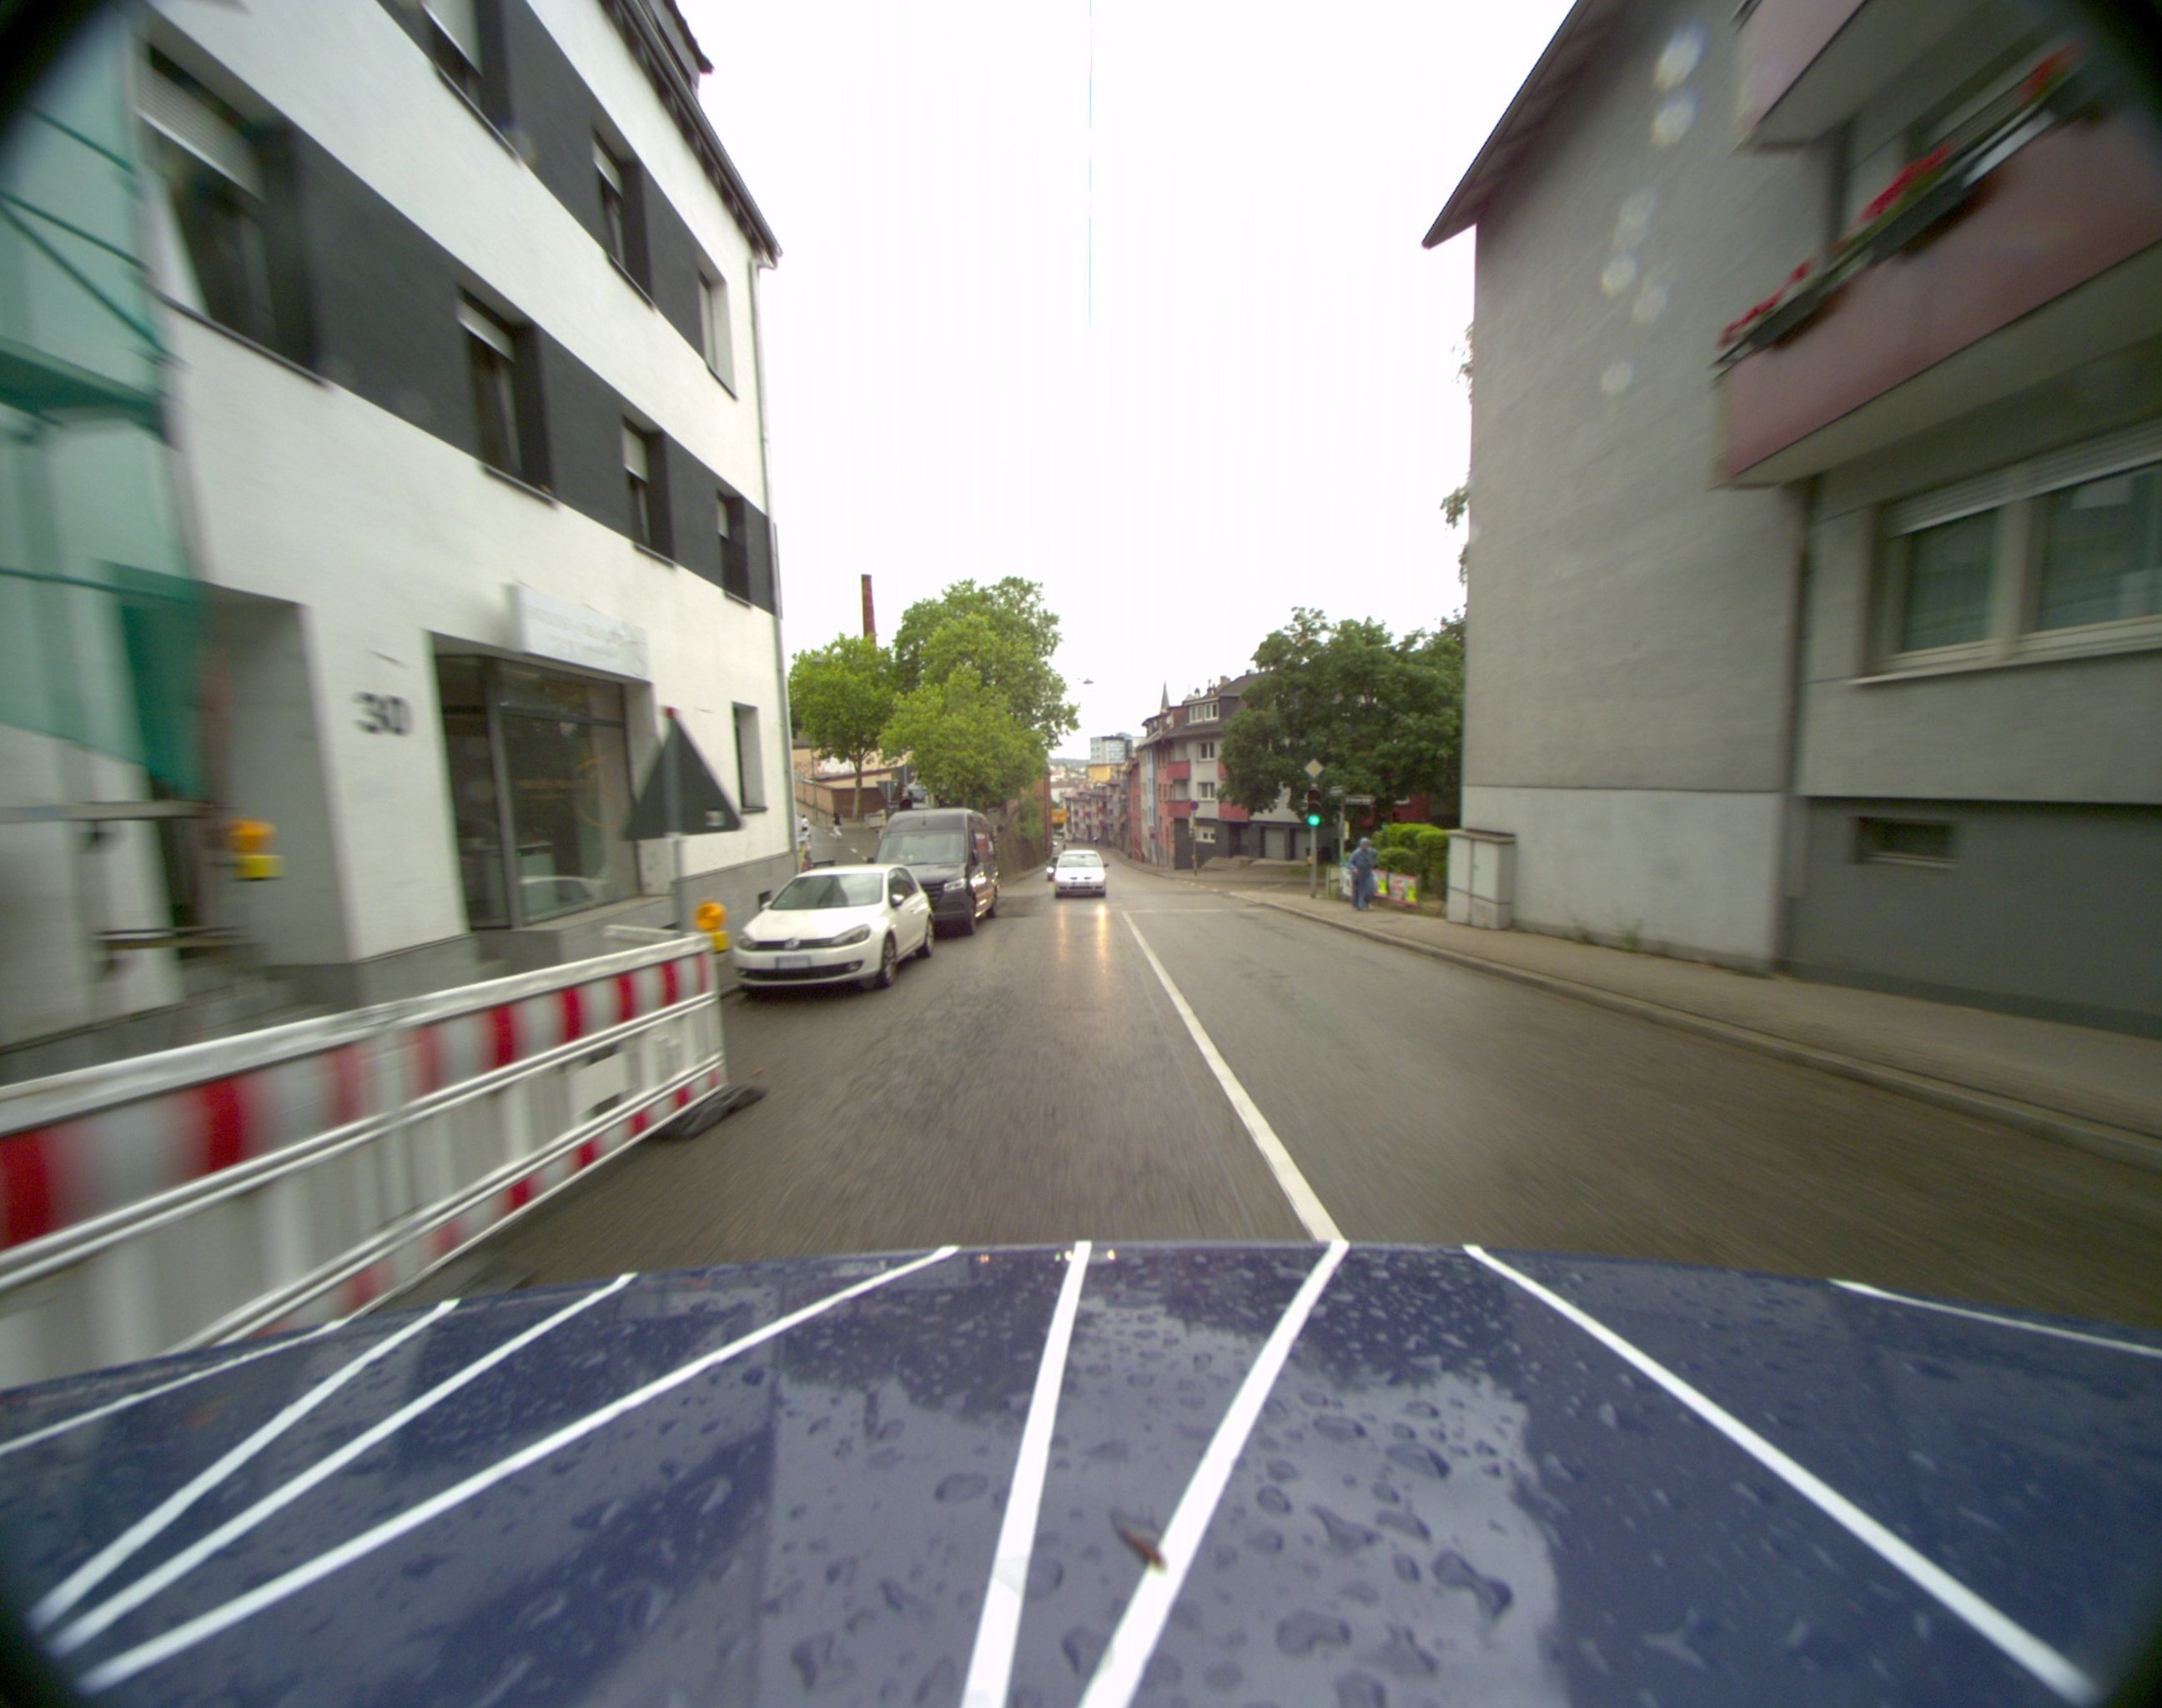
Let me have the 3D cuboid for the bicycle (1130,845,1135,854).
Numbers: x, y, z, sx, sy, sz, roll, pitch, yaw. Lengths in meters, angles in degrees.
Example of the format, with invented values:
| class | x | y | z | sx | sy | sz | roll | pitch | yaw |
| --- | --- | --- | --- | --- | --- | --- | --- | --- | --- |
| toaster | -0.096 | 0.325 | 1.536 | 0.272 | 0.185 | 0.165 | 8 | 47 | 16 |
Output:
| class | x | y | z | sx | sy | sz | roll | pitch | yaw |
| --- | --- | --- | --- | --- | --- | --- | --- | --- | --- |
| bicycle | 7.283 | -0.654 | 107.510 | 0.572 | 1.111 | 2.039 | -4 | 2 | 1 |

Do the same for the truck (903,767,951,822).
| class | x | y | z | sx | sy | sz | roll | pitch | yaw |
| --- | --- | --- | --- | --- | --- | --- | --- | --- | --- |
| truck | -12.206 | -4.960 | 61.252 | 2.756 | 3.296 | 11.202 | 0 | 10 | -6 |

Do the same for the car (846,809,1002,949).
| class | x | y | z | sx | sy | sz | roll | pitch | yaw |
| --- | --- | --- | --- | --- | --- | --- | --- | --- | --- |
| car | -3.096 | 0.319 | 16.475 | 1.998 | 2.400 | 5.833 | -3 | 3 | 0 |

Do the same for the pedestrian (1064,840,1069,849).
| class | x | y | z | sx | sy | sz | roll | pitch | yaw |
| --- | --- | --- | --- | --- | --- | --- | --- | --- | --- |
| pedestrian | -2.525 | -1.703 | 131.698 | 0.871 | 1.532 | 1.087 | -4 | 0 | -3 |

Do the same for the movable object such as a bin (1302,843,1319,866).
| class | x | y | z | sx | sy | sz | roll | pitch | yaw |
| --- | --- | --- | --- | --- | --- | --- | --- | --- | --- |
| movable object such as a bin | 12.591 | 0.016 | 41.667 | 0.562 | 1.193 | 0.687 | -5 | 3 | -26 |

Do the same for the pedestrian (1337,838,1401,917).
| class | x | y | z | sx | sy | sz | roll | pitch | yaw |
| --- | --- | --- | --- | --- | --- | --- | --- | --- | --- |
| pedestrian | 6.111 | 0.473 | 16.182 | 0.871 | 1.533 | 1.086 | -4 | 4 | -2 |

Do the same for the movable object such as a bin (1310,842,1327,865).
| class | x | y | z | sx | sy | sz | roll | pitch | yaw |
| --- | --- | --- | --- | --- | --- | --- | --- | --- | --- |
| movable object such as a bin | 13.110 | -0.026 | 41.939 | 0.562 | 1.193 | 0.687 | -5 | 3 | -26 |

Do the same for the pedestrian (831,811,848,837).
| class | x | y | z | sx | sy | sz | roll | pitch | yaw |
| --- | --- | --- | --- | --- | --- | --- | --- | --- | --- |
| pedestrian | -15.572 | -1.925 | 48.986 | 0.875 | 1.668 | 0.777 | -2 | 4 | -30 |

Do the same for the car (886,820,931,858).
| class | x | y | z | sx | sy | sz | roll | pitch | yaw |
| --- | --- | --- | --- | --- | --- | --- | --- | --- | --- |
| car | -9.740 | -0.928 | 43.193 | 1.635 | 1.486 | 4.339 | -4 | 9 | -3 |

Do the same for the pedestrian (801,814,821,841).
| class | x | y | z | sx | sy | sz | roll | pitch | yaw |
| --- | --- | --- | --- | --- | --- | --- | --- | --- | --- |
| pedestrian | -16.866 | -1.652 | 47.455 | 0.873 | 1.668 | 0.779 | 0 | 3 | 3 |

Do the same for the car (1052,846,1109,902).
| class | x | y | z | sx | sy | sz | roll | pitch | yaw |
| --- | --- | --- | --- | --- | --- | --- | --- | --- | --- |
| car | -0.015 | 0.617 | 26.106 | 1.720 | 1.528 | 3.998 | -3 | 3 | 0 |

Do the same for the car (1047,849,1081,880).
| class | x | y | z | sx | sy | sz | roll | pitch | yaw |
| --- | --- | --- | --- | --- | --- | --- | --- | --- | --- |
| car | -0.936 | 0.591 | 44.765 | 1.719 | 1.528 | 3.998 | -3 | 3 | 2 |

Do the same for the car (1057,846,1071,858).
| class | x | y | z | sx | sy | sz | roll | pitch | yaw |
| --- | --- | --- | --- | --- | --- | --- | --- | --- | --- |
| car | -2.228 | -0.245 | 99.478 | 1.637 | 1.521 | 3.999 | -3 | 0 | 0 |

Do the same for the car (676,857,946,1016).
| class | x | y | z | sx | sy | sz | roll | pitch | yaw |
| --- | --- | --- | --- | --- | --- | --- | --- | --- | --- |
| car | -3.282 | 0.898 | 10.330 | 1.998 | 1.503 | 4.336 | -3 | 1 | 0 |

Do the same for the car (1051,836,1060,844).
| class | x | y | z | sx | sy | sz | roll | pitch | yaw |
| --- | --- | --- | --- | --- | --- | --- | --- | --- | --- |
| car | -5.666 | -3.088 | 170.266 | 1.638 | 1.521 | 3.998 | -3 | 0 | -6 |

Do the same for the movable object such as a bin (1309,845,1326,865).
| class | x | y | z | sx | sy | sz | roll | pitch | yaw |
| --- | --- | --- | --- | --- | --- | --- | --- | --- | --- |
| movable object such as a bin | 12.784 | 0.052 | 41.057 | 0.630 | 1.010 | 0.499 | -5 | 3 | -25 |
